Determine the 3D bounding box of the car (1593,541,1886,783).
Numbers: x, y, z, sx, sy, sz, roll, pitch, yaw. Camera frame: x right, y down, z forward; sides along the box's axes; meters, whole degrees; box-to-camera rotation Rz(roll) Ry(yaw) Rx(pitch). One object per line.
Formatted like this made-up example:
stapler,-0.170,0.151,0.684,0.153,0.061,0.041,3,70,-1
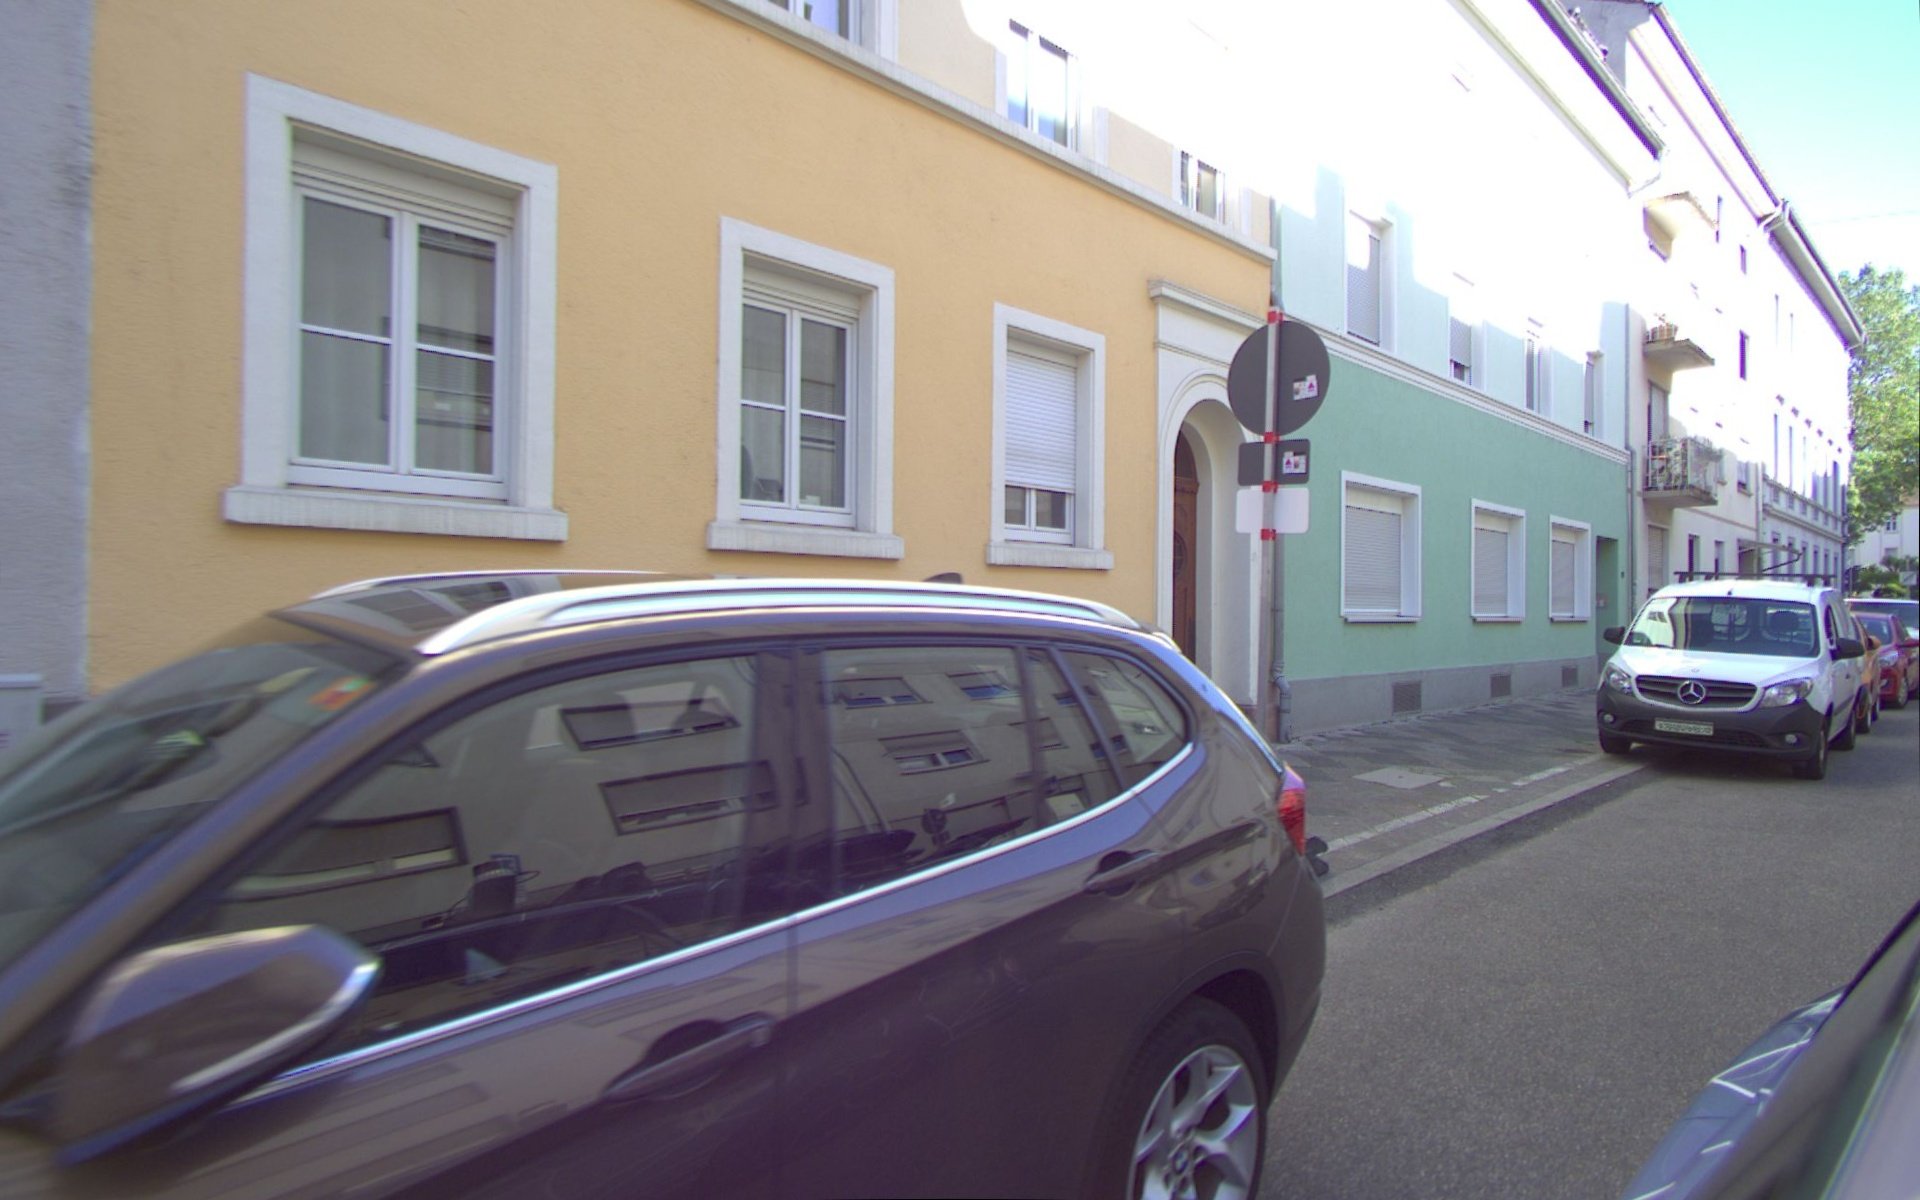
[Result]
car,8.165,0.499,10.441,4.264,1.986,1.783,0,0,-44

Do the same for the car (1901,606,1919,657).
car,31.036,0.979,31.775,4.647,1.539,1.816,1,-3,-43

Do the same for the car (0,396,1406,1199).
car,-1.022,0.641,1.755,4.303,1.597,1.741,1,-1,-43

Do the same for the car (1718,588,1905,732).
car,11.419,0.717,13.490,1.580,1.653,3.622,-2,-2,45

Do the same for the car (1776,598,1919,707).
car,14.975,0.790,16.756,3.964,1.589,1.744,1,-1,-43

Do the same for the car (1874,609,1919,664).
car,26.832,0.995,28.134,3.803,1.467,1.748,1,-3,-43

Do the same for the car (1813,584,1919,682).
car,19.227,0.646,20.823,4.854,1.806,2.007,1,-1,-43

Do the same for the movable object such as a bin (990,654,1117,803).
movable object such as a bin,0.666,0.886,7.232,0.632,0.947,0.654,1,-1,-44
